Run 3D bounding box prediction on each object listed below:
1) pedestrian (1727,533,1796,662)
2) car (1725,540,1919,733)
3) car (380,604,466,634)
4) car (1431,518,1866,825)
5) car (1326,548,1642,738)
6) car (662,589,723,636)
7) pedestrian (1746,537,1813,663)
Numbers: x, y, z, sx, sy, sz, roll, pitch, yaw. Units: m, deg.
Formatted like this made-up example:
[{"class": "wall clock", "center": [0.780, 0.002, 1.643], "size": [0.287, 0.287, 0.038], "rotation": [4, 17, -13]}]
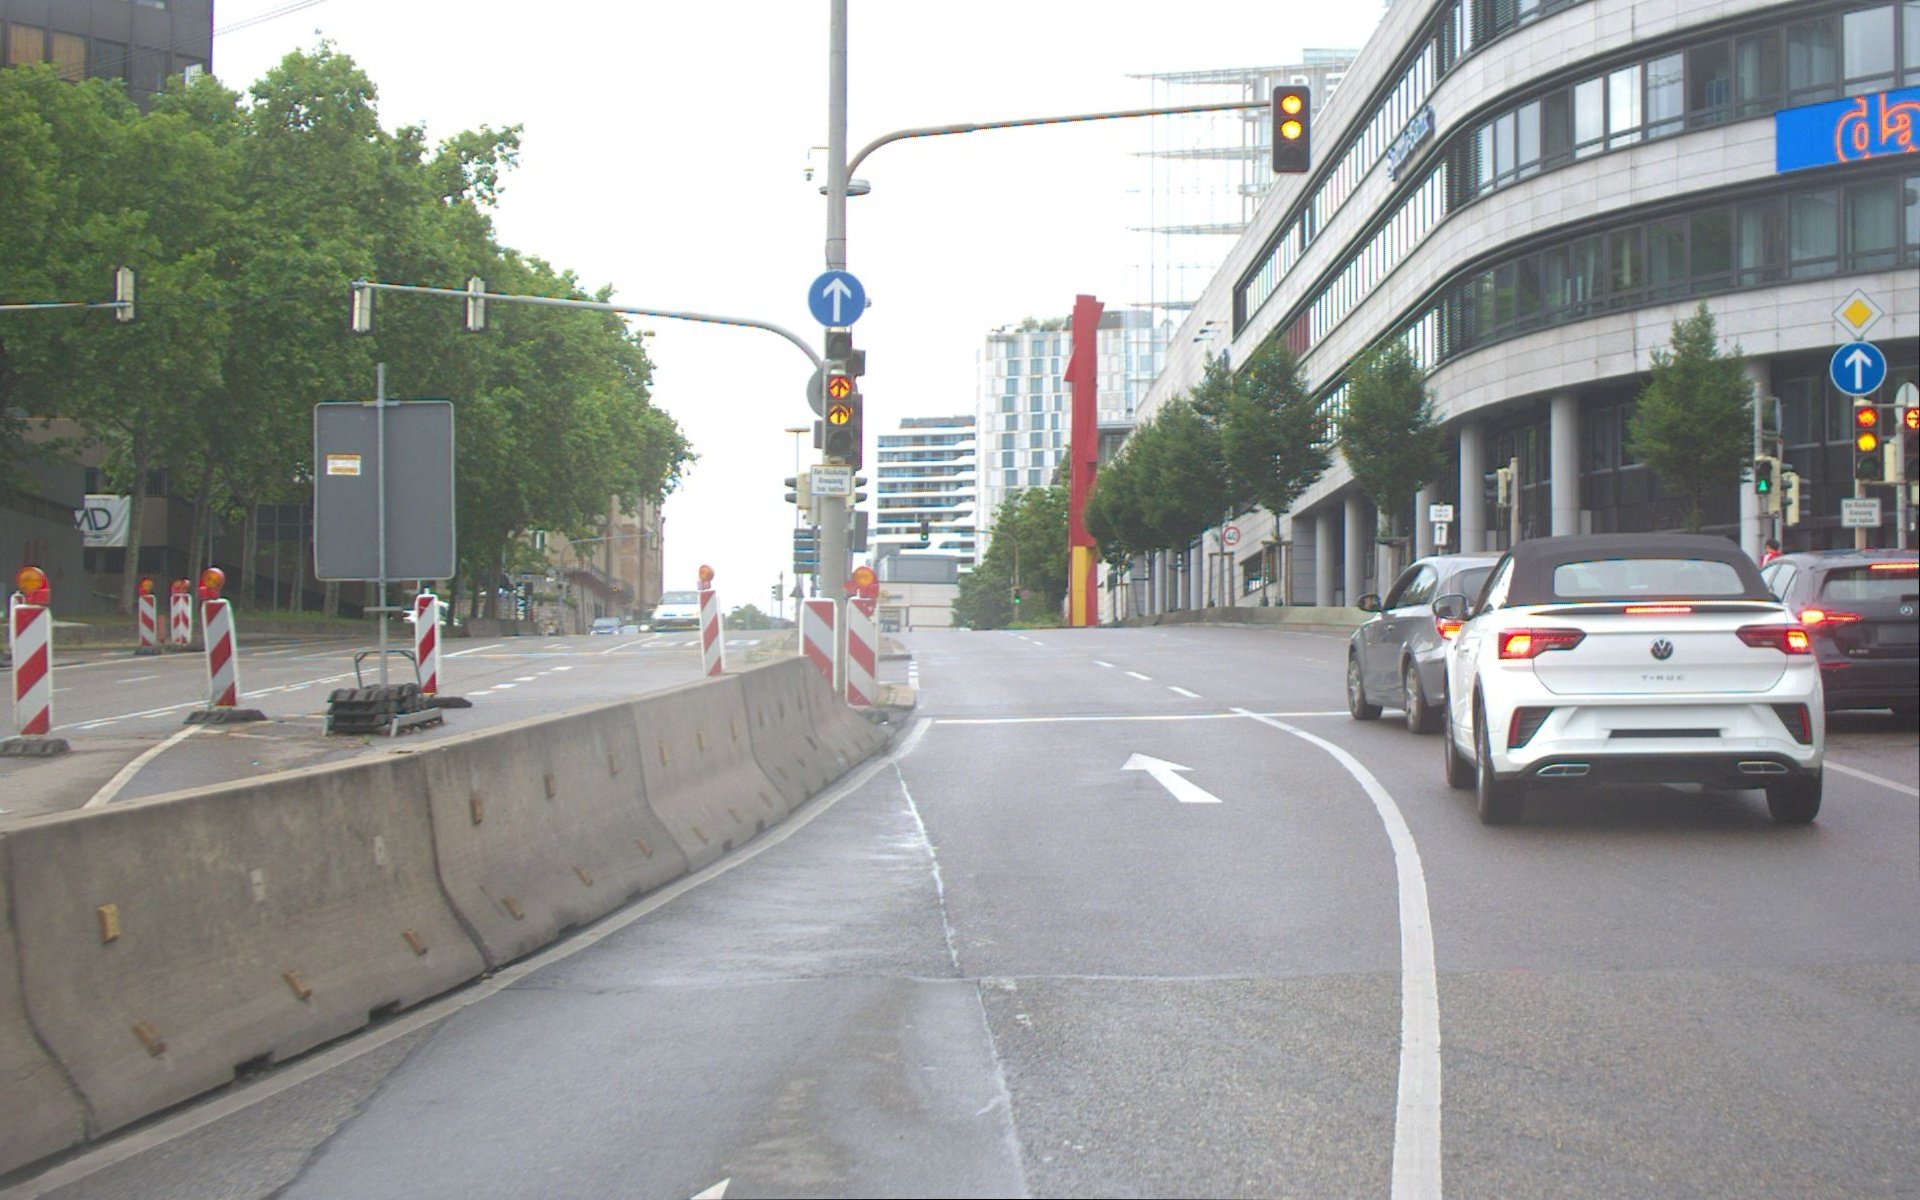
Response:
[{"class": "pedestrian", "center": [11.994, -0.022, 51.435], "size": [0.841, 1.898, 0.860], "rotation": [-1, -2, 25]}, {"class": "car", "center": [7.287, 0.293, 27.629], "size": [1.755, 1.402, 4.226], "rotation": [-2, -1, 7]}, {"class": "car", "center": [-28.998, 1.030, 185.841], "size": [1.823, 1.506, 4.568], "rotation": [-3, -2, 37]}, {"class": "car", "center": [3.754, 0.344, 19.439], "size": [1.964, 1.543, 4.218], "rotation": [0, 0, 5]}, {"class": "car", "center": [4.184, 0.320, 28.032], "size": [1.739, 1.438, 4.000], "rotation": [0, 0, -3]}, {"class": "car", "center": [-8.789, 0.408, 113.281], "size": [1.761, 1.456, 4.360], "rotation": [-1, 1, -2]}, {"class": "pedestrian", "center": [12.476, 0.000, 52.327], "size": [0.841, 1.898, 0.731], "rotation": [-1, -1, 25]}]
